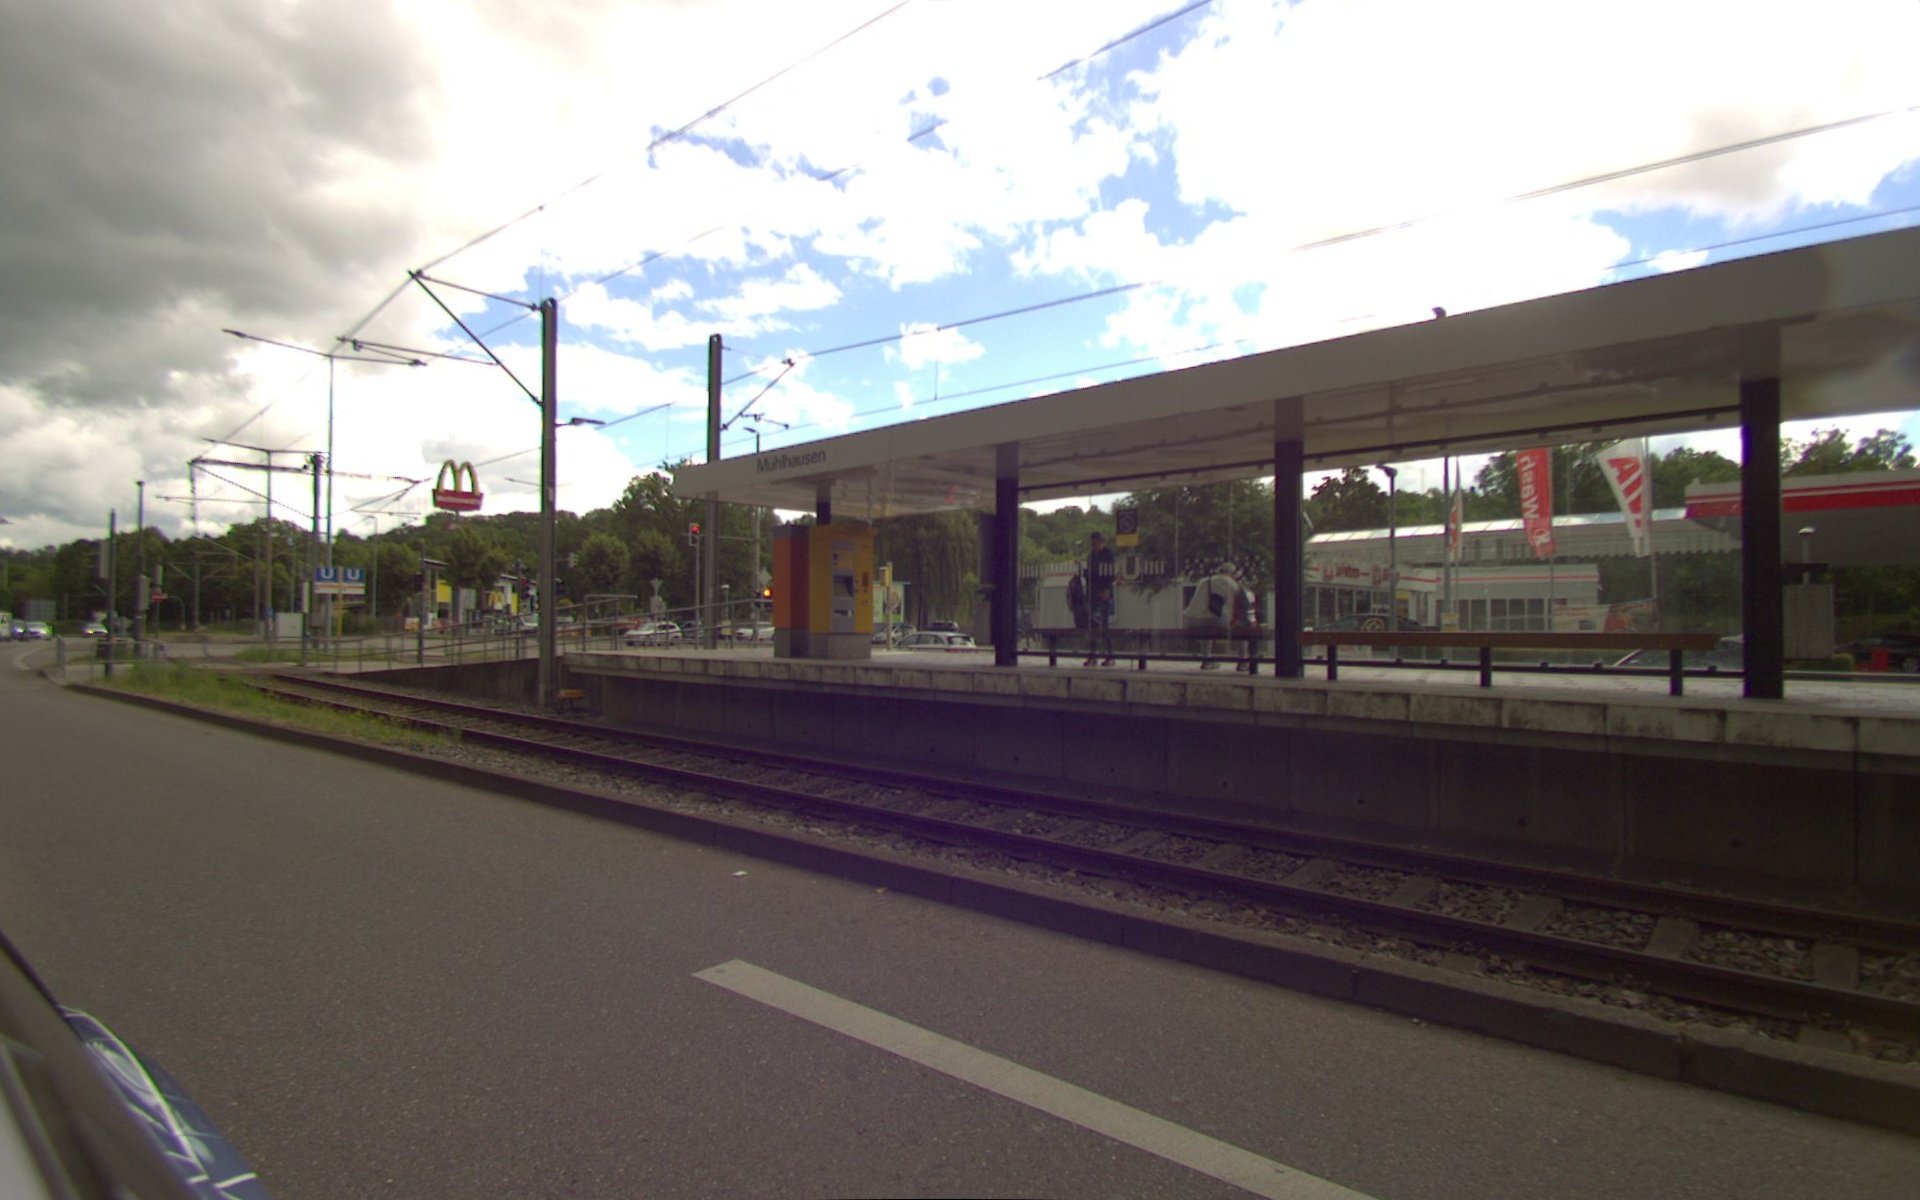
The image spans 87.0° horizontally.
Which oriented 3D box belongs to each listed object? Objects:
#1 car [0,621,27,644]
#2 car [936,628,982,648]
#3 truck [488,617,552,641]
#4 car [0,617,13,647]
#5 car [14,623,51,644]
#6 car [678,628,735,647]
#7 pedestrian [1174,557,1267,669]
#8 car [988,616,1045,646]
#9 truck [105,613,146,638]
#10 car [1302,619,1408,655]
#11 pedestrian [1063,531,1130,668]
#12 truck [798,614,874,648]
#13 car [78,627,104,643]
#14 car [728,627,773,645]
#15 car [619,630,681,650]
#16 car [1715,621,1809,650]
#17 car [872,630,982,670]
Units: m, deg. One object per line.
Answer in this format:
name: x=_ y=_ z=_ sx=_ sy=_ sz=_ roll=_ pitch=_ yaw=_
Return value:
car: x=-67.119 y=2.284 z=70.985 sx=1.967 sy=1.547 sz=4.009 roll=3 pitch=-3 yaw=-36
car: x=-0.094 y=3.542 z=95.540 sx=3.975 sy=1.855 sz=1.984 roll=-1 pitch=-2 yaw=24
truck: x=-37.106 y=2.435 z=85.251 sx=6.195 sy=1.920 sz=2.565 roll=-1 pitch=-3 yaw=41
car: x=-61.798 y=2.037 z=64.385 sx=1.780 sy=1.839 sz=4.009 roll=1 pitch=-2 yaw=-37
car: x=-72.746 y=2.626 z=79.407 sx=1.802 sy=1.564 sz=4.008 roll=3 pitch=-3 yaw=-38
car: x=-19.682 y=2.899 z=78.812 sx=1.790 sy=1.443 sz=4.237 roll=-1 pitch=-2 yaw=32
pedestrian: x=2.923 y=0.153 z=11.360 sx=0.728 sy=1.198 sz=0.760 roll=-1 pitch=-2 yaw=45
car: x=4.098 y=2.275 z=73.023 sx=1.845 sy=2.067 sz=4.322 roll=-1 pitch=-3 yaw=40
truck: x=-125.424 y=3.883 z=152.137 sx=8.697 sy=3.587 sz=3.390 roll=-1 pitch=-3 yaw=42
car: x=15.827 y=1.476 z=40.671 sx=3.636 sy=1.360 sz=1.595 roll=-2 pitch=-2 yaw=43
pedestrian: x=1.695 y=0.009 z=12.529 sx=0.572 sy=1.633 sz=0.577 roll=-1 pitch=-4 yaw=43
truck: x=-9.598 y=2.417 z=78.792 sx=2.386 sy=2.513 sz=5.743 roll=-1 pitch=-3 yaw=42
car: x=-90.490 y=3.617 z=105.432 sx=1.937 sy=1.564 sz=4.006 roll=3 pitch=-3 yaw=-40
car: x=-18.145 y=3.110 z=87.704 sx=1.724 sy=1.566 sz=3.596 roll=-1 pitch=-2 yaw=36
car: x=-22.580 y=2.905 z=73.918 sx=1.788 sy=1.443 sz=4.376 roll=-1 pitch=-2 yaw=28
car: x=50.409 y=2.219 z=63.751 sx=4.431 sy=1.719 sz=1.894 roll=0 pitch=-3 yaw=33
car: x=-1.235 y=1.774 z=36.831 sx=4.029 sy=1.360 sz=1.596 roll=-1 pitch=-2 yaw=42
